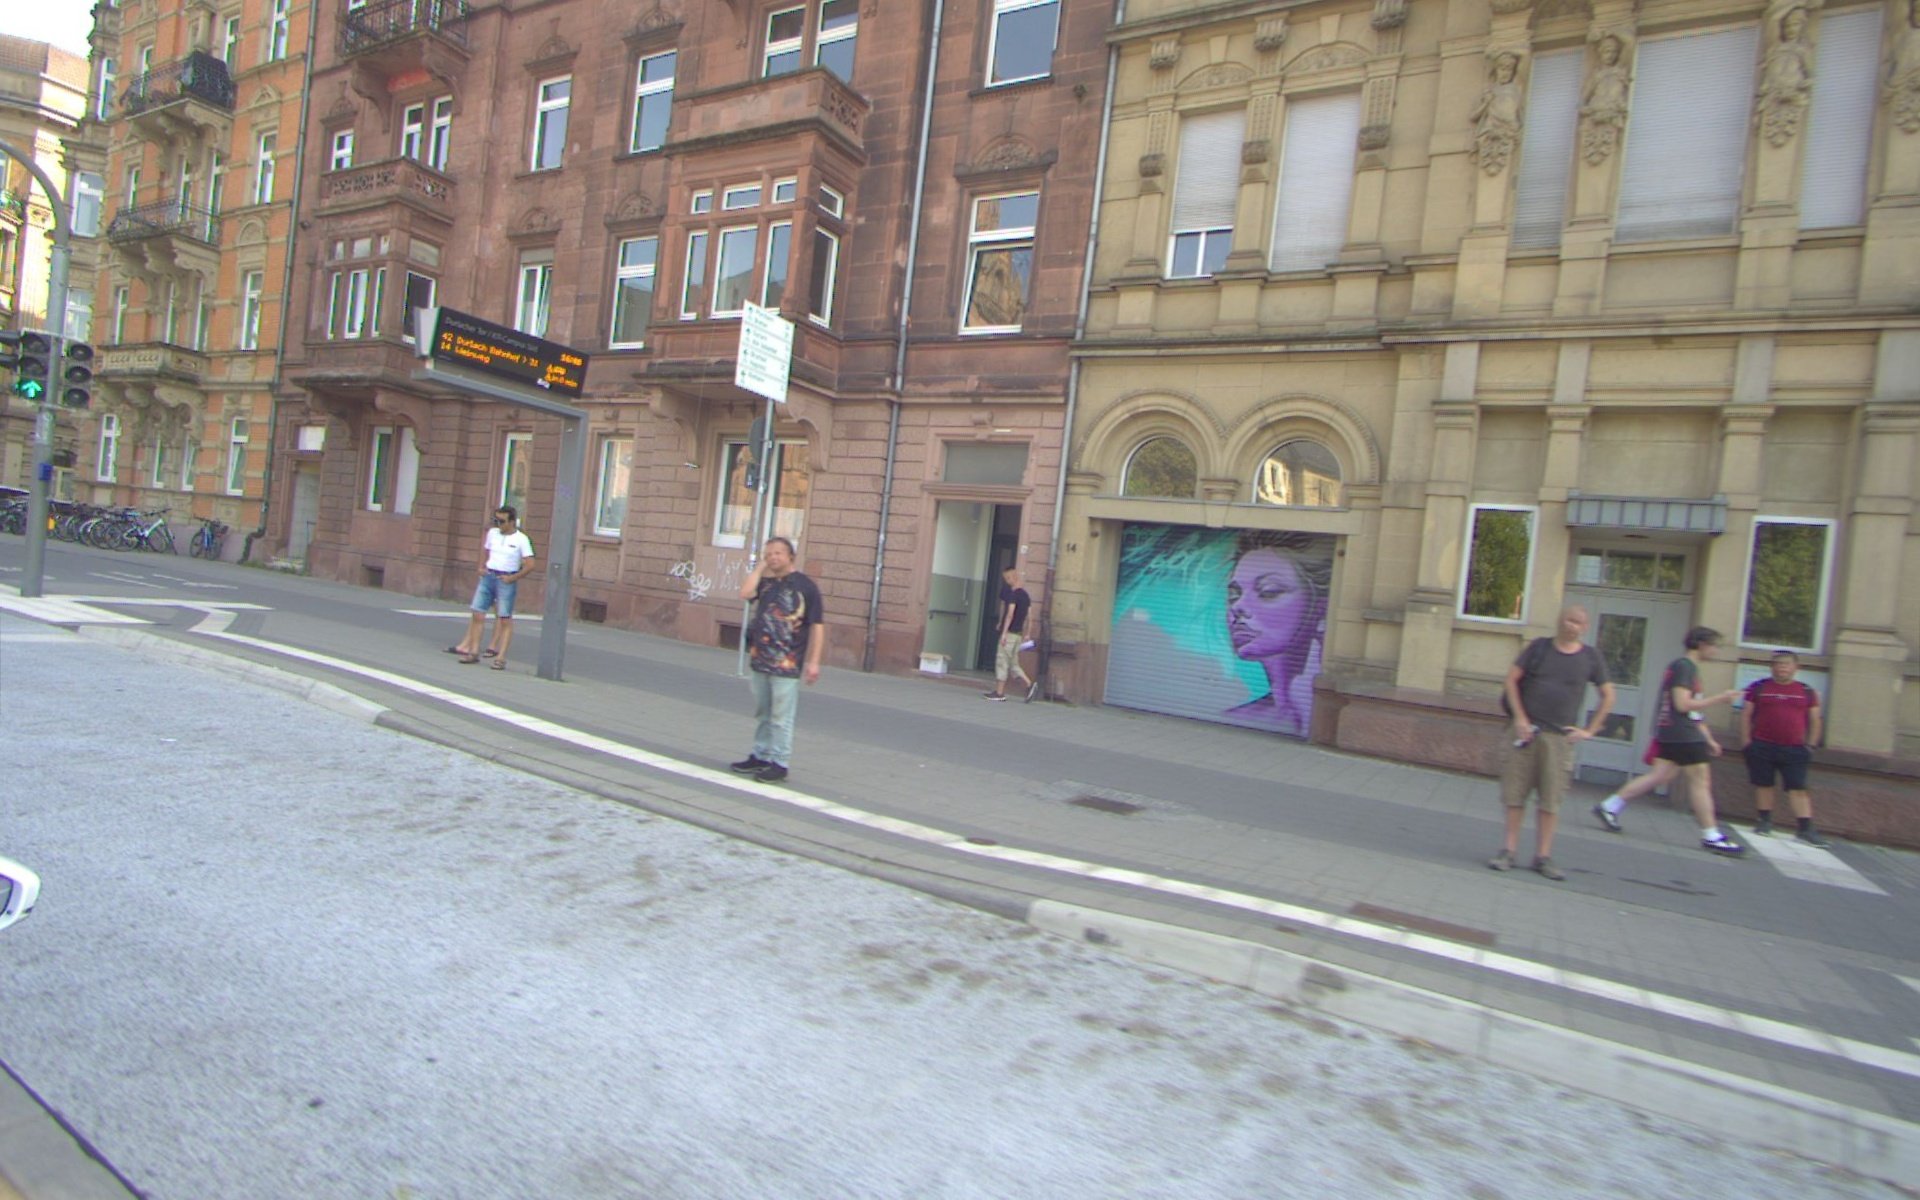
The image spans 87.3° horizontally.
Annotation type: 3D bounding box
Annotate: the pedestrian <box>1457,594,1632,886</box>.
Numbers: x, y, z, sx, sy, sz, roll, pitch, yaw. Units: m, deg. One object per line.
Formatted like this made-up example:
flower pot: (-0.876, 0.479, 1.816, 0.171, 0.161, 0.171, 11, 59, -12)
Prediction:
pedestrian: (3.806, 0.881, 6.599, 0.791, 1.754, 0.342, 7, 1, 28)

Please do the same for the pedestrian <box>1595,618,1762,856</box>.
pedestrian: (5.867, 1.084, 8.277, 0.882, 1.746, 0.701, 7, 1, 31)

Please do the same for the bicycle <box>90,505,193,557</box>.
bicycle: (-20.676, -1.721, 25.460, 0.491, 1.061, 1.932, 7, 0, 25)

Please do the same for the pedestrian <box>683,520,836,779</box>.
pedestrian: (-1.364, 0.324, 6.873, 0.691, 1.632, 0.529, 7, 1, 28)

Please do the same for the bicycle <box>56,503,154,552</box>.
bicycle: (-23.052, -1.935, 27.166, 0.491, 1.061, 1.932, 7, 0, 25)

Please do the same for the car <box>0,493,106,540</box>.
car: (-31.766, -2.906, 34.101, 1.520, 1.237, 3.944, 7, 0, 27)

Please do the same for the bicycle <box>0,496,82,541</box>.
bicycle: (-26.770, -2.371, 29.117, 0.518, 1.061, 1.932, 7, 0, 25)

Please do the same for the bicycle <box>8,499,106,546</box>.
bicycle: (-25.104, -2.141, 28.000, 0.518, 1.061, 1.932, 7, 0, 25)

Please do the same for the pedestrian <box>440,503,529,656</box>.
pedestrian: (-5.617, -0.239, 11.886, 0.691, 1.723, 0.482, 7, 1, 28)

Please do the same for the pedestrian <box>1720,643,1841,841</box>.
pedestrian: (7.490, 1.272, 9.213, 0.577, 1.675, 0.604, 7, 1, 28)

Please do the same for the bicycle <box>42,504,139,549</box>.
bicycle: (-23.773, -1.997, 27.547, 0.491, 0.962, 1.932, 7, 0, 25)

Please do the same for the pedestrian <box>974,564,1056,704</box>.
pedestrian: (0.722, 0.445, 13.231, 0.679, 1.741, 0.630, 7, 1, 31)

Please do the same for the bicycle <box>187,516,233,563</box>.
bicycle: (-19.150, -1.553, 25.680, 1.644, 1.061, 0.416, 7, 1, 36)

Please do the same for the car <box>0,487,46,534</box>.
car: (-36.273, -3.479, 36.456, 1.965, 1.583, 4.189, 7, 0, 27)

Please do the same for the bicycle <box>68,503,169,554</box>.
bicycle: (-21.889, -1.839, 26.218, 0.491, 1.061, 1.932, 7, 0, 25)

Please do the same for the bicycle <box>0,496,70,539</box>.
bicycle: (-27.496, -2.434, 29.545, 0.518, 1.061, 1.932, 7, 0, 25)

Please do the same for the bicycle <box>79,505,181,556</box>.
bicycle: (-21.295, -1.771, 25.861, 0.491, 1.061, 1.932, 7, 0, 25)

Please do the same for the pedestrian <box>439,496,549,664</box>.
pedestrian: (-4.948, -0.197, 10.694, 0.609, 1.685, 0.691, 7, 1, 31)
